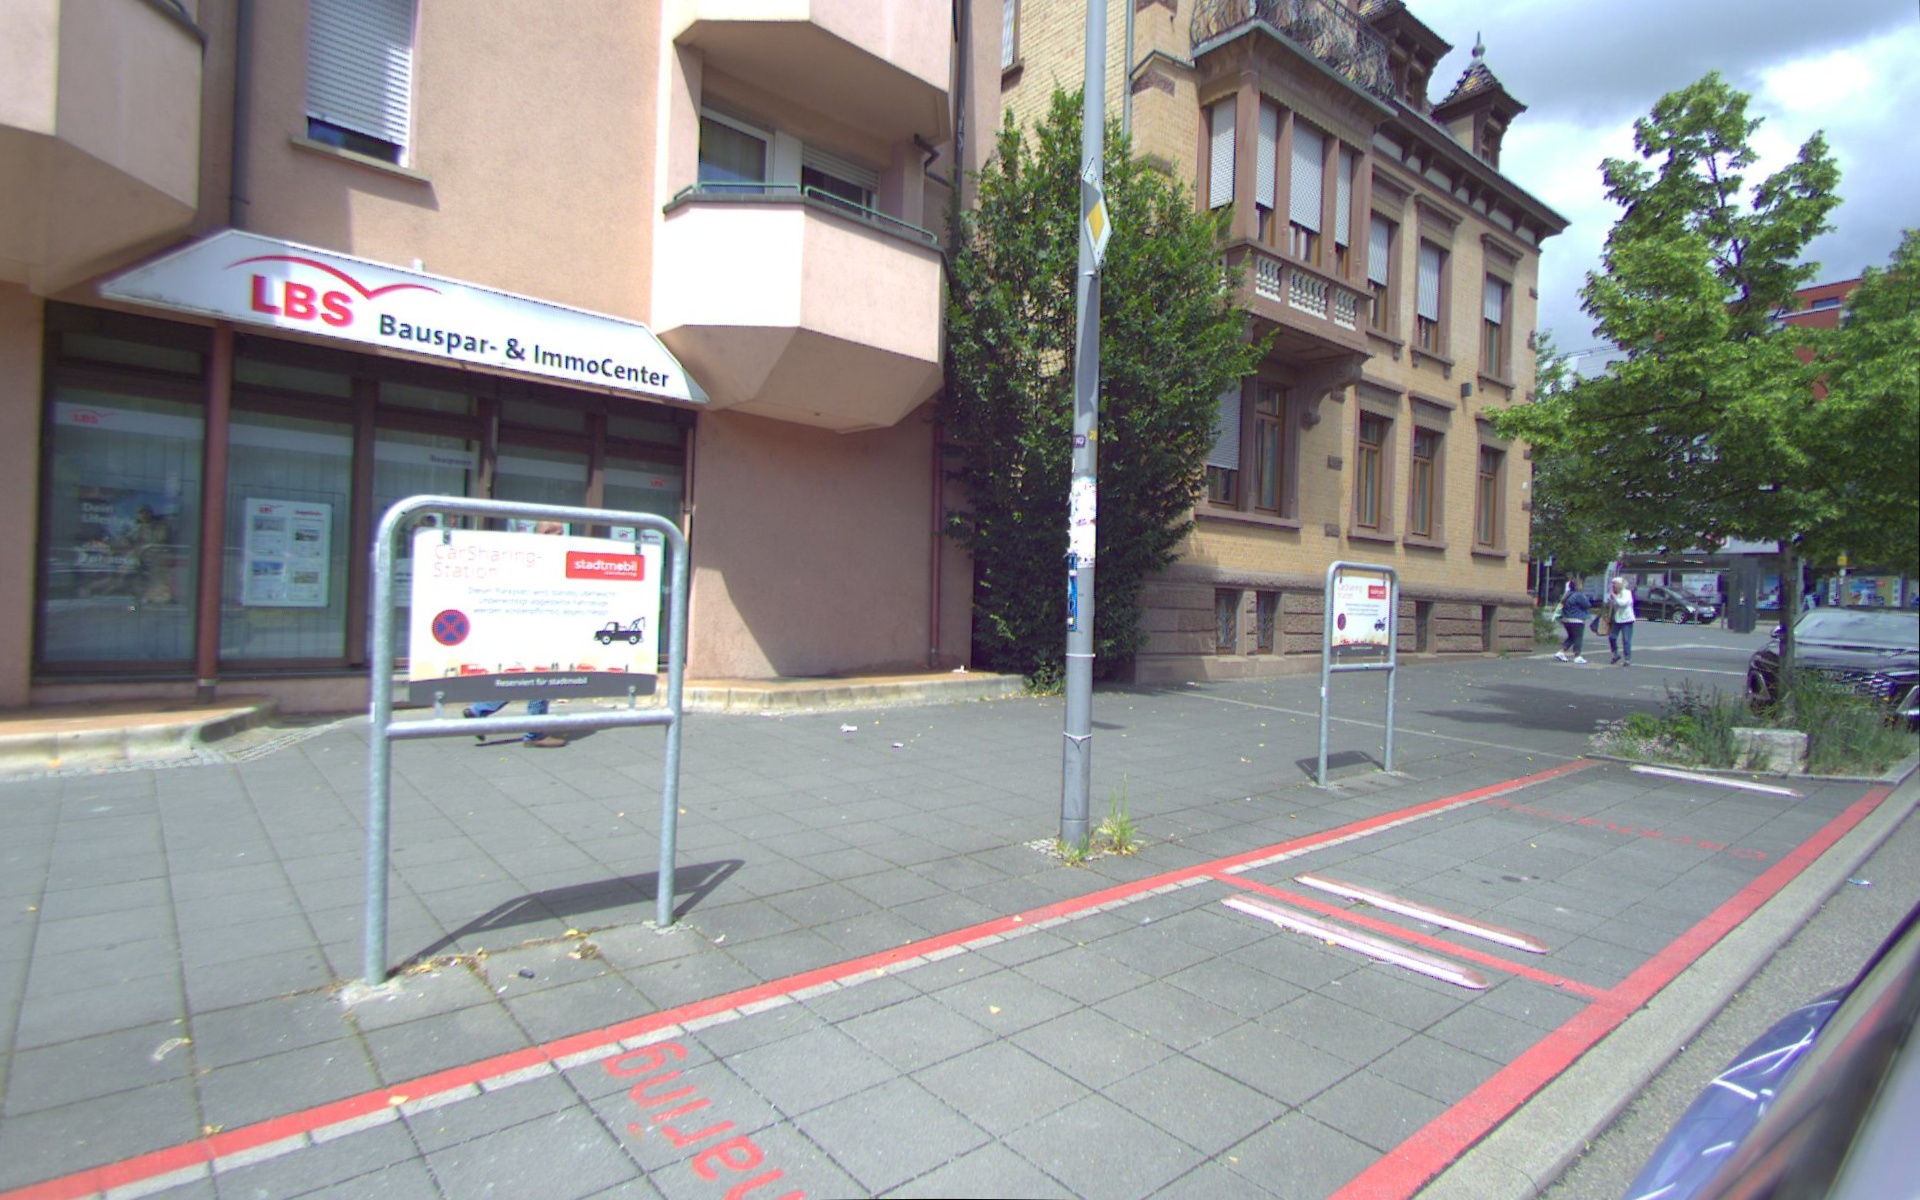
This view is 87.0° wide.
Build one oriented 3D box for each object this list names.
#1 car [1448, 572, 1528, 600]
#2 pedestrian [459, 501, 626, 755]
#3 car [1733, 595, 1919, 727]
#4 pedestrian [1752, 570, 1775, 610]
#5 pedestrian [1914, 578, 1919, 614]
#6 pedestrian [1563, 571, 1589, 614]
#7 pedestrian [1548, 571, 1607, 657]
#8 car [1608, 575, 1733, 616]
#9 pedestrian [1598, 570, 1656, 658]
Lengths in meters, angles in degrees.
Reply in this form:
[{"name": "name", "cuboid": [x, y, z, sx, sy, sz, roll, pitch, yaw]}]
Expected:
[{"name": "car", "cuboid": [31.307, -0.818, 60.081, 1.782, 1.582, 3.835, -1, 1, -29]}, {"name": "pedestrian", "cuboid": [-3.036, 0.166, 7.364, 0.929, 1.706, 0.717, -1, 3, -44]}, {"name": "car", "cuboid": [12.177, 0.693, 13.490, 4.652, 1.431, 1.998, 0, 2, -40]}, {"name": "pedestrian", "cuboid": [40.196, -0.504, 50.608, 0.751, 1.937, 0.686, 0, 0, -31]}, {"name": "pedestrian", "cuboid": [44.019, -0.176, 46.091, 0.751, 1.614, 0.686, 0, 0, -31]}, {"name": "pedestrian", "cuboid": [25.355, -0.309, 41.678, 0.756, 1.753, 0.749, 0, 0, 18]}, {"name": "pedestrian", "cuboid": [12.158, 0.261, 19.927, 0.661, 1.660, 0.742, 0, 0, -15]}, {"name": "car", "cuboid": [30.665, -0.198, 43.763, 1.961, 1.672, 4.001, 1, 0, -34]}, {"name": "pedestrian", "cuboid": [13.028, 0.261, 19.777, 0.725, 1.679, 0.699, 0, 0, -29]}]
